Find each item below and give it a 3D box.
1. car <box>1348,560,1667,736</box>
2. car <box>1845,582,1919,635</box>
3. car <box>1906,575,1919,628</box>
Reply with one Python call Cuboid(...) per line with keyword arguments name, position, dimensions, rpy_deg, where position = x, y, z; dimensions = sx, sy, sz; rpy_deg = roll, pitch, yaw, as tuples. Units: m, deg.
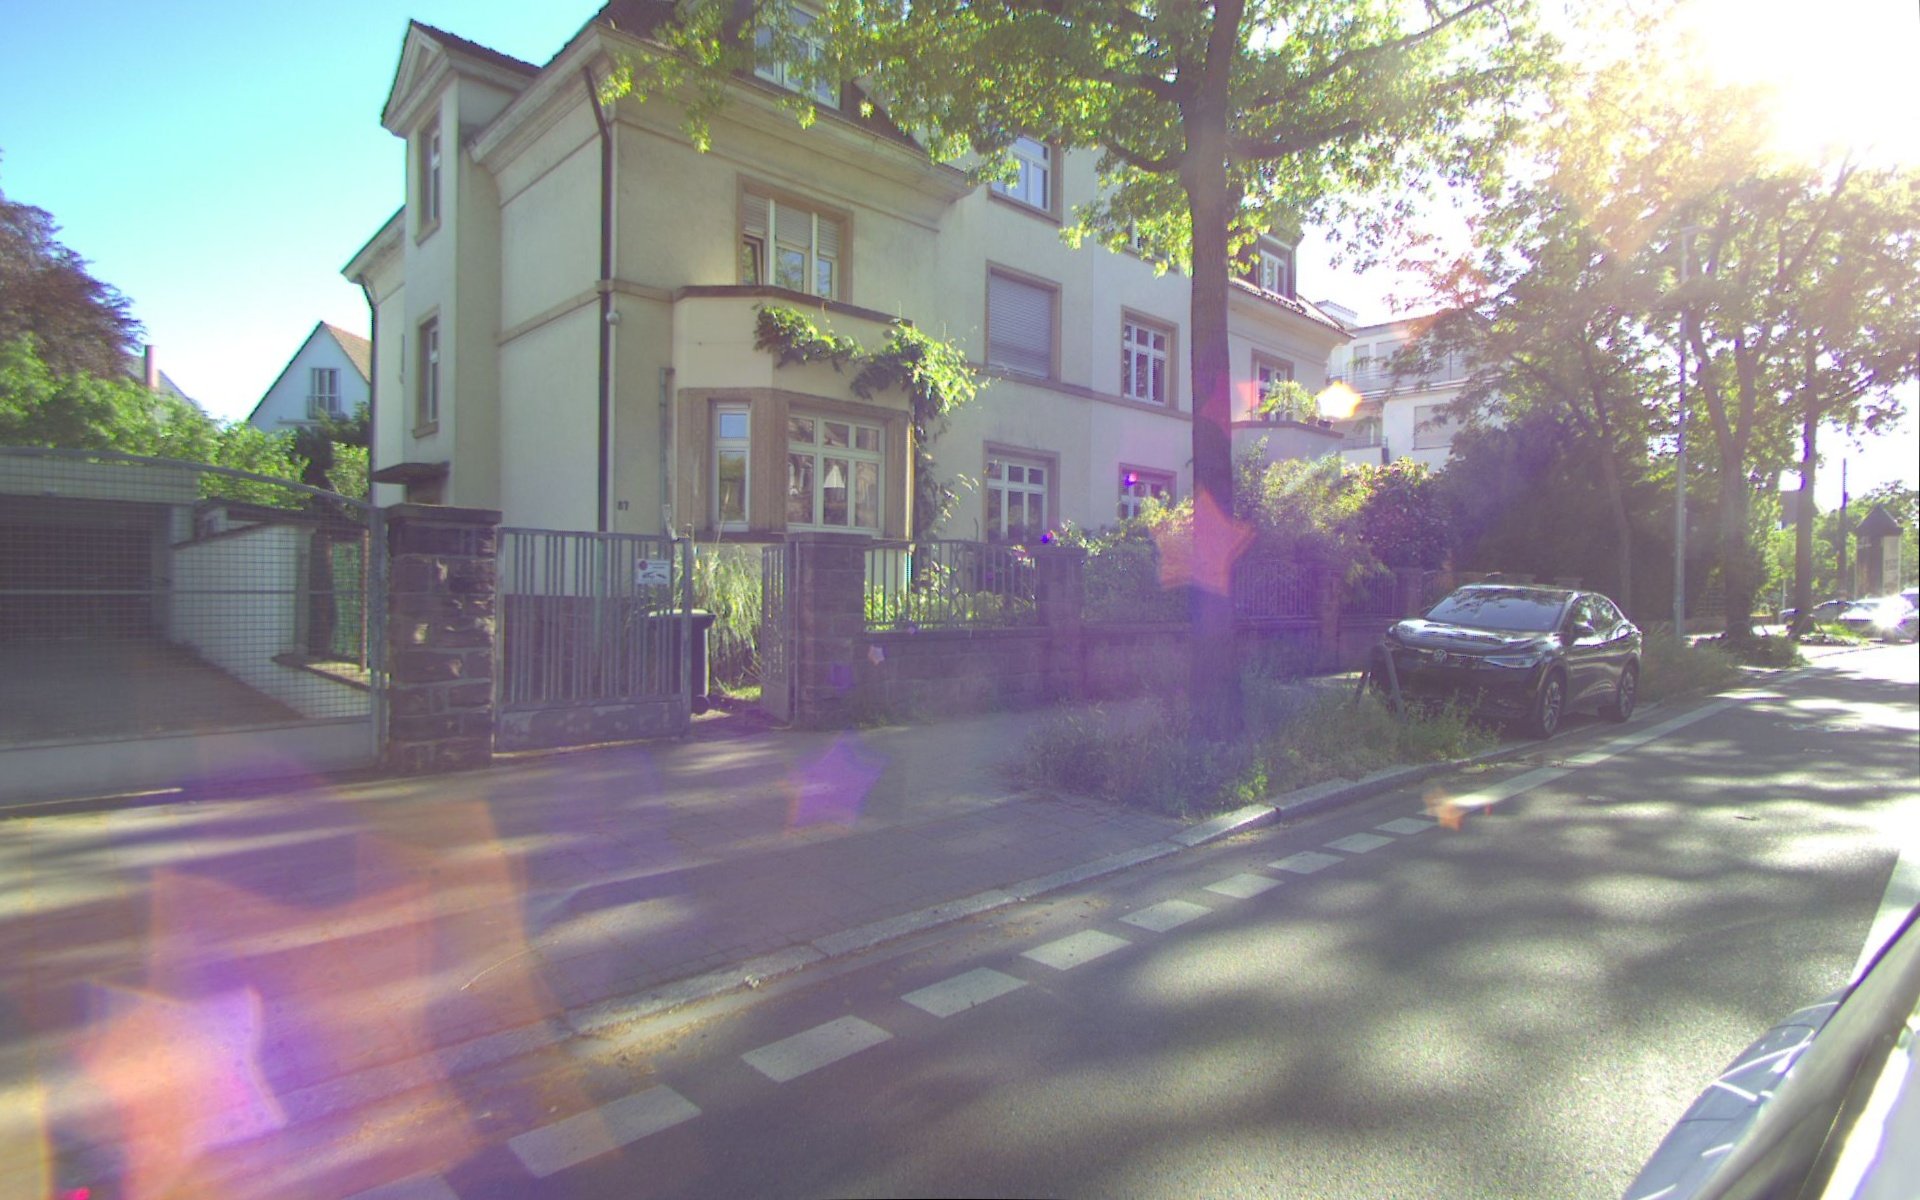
Cuboid(name="car", position=(6.709, 0.479, 12.209), dimensions=(4.304, 1.695, 1.997), rpy_deg=(1, 2, -42))
Cuboid(name="car", position=(31.517, 0.250, 34.112), dimensions=(3.927, 1.660, 1.824), rpy_deg=(0, 1, -38))
Cuboid(name="car", position=(37.106, 0.057, 37.805), dimensions=(4.663, 1.919, 2.128), rpy_deg=(0, 1, -41))
